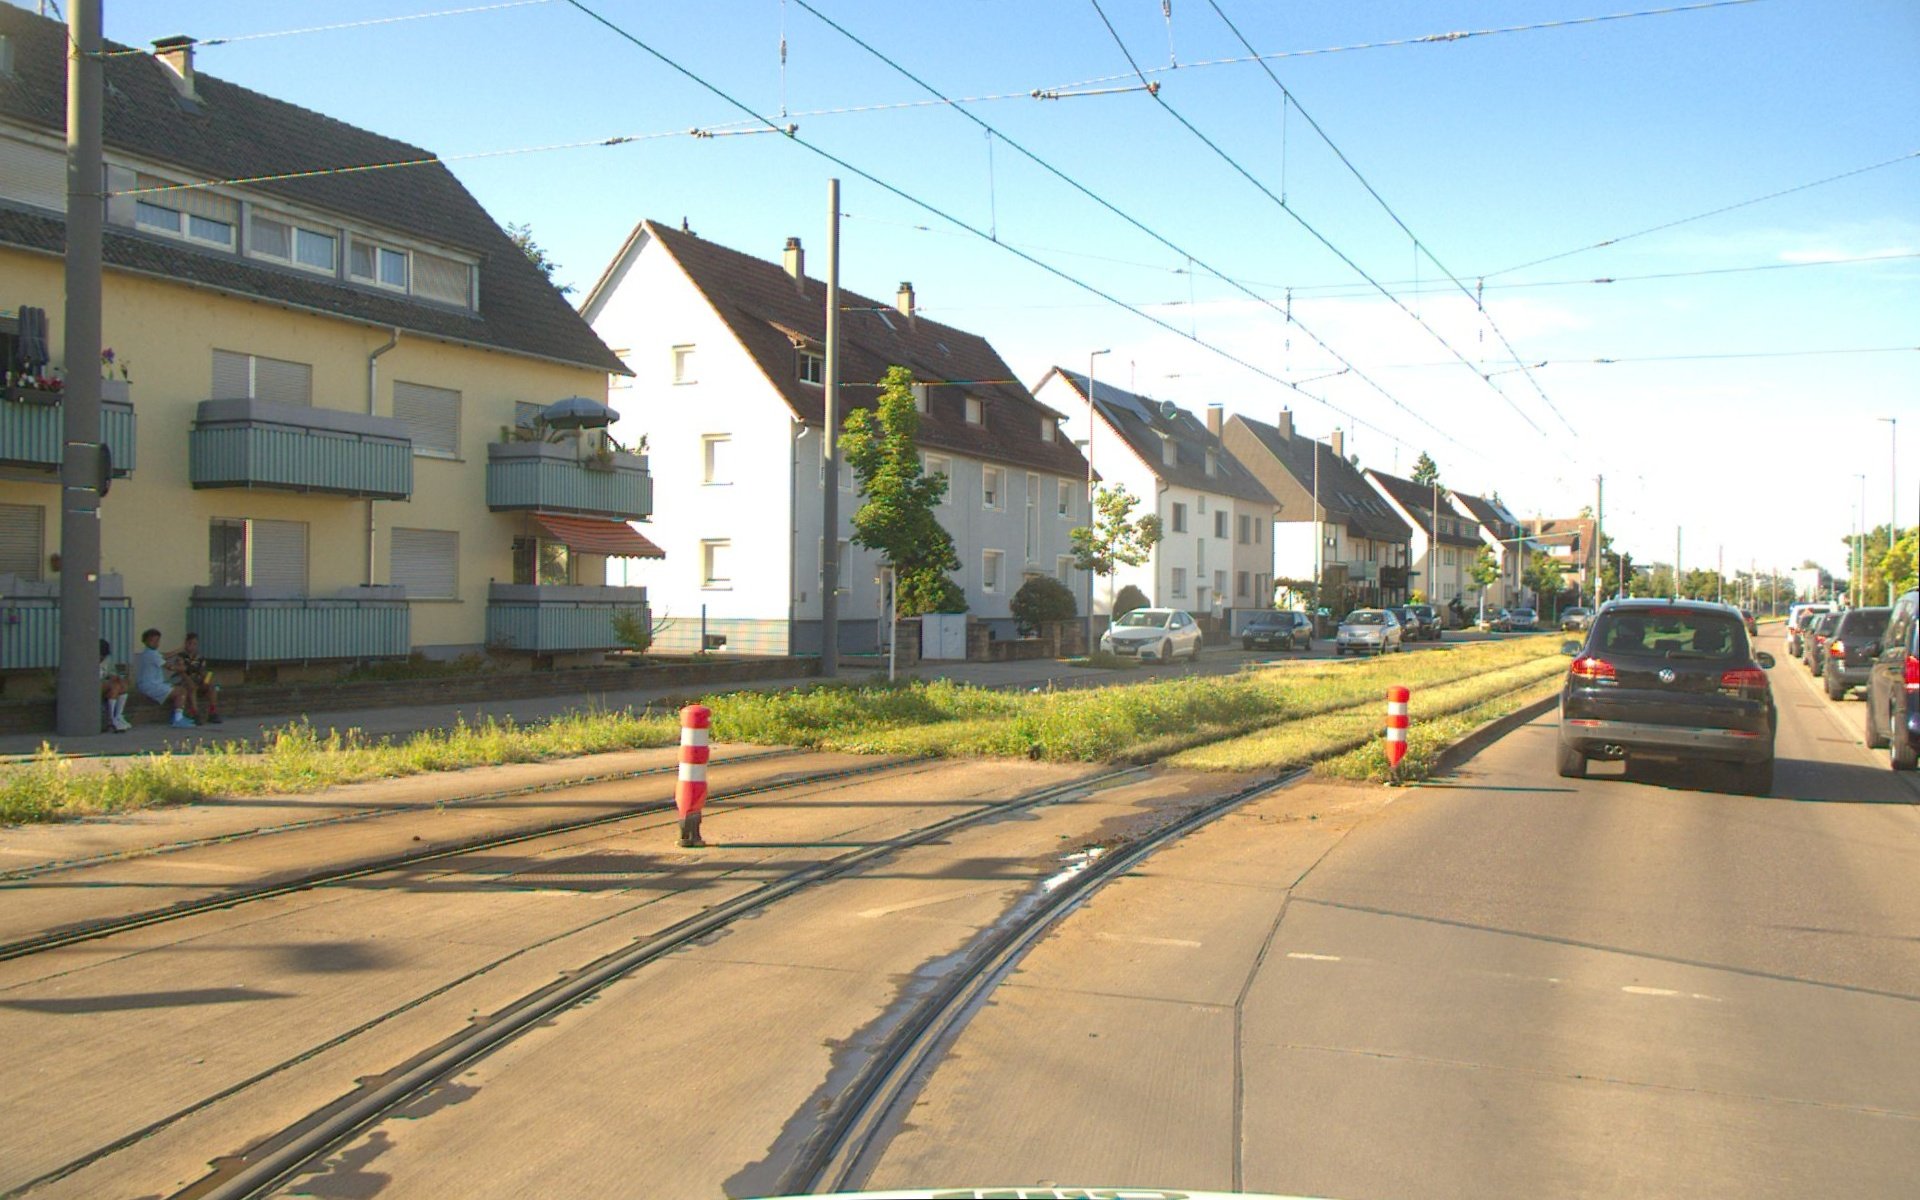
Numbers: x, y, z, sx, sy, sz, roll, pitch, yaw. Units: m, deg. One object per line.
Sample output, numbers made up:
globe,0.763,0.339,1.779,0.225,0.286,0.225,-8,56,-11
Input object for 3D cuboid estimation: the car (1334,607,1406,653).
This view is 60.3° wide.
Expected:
car,13.349,0.957,53.705,1.519,1.436,3.655,0,0,27

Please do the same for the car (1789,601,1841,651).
car,32.123,0.931,62.196,1.657,1.808,4.650,0,0,27

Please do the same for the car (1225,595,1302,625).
car,17.920,0.566,97.691,4.080,1.683,1.853,1,0,30

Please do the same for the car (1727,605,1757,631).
car,44.895,1.014,94.914,1.541,1.415,3.611,0,0,26

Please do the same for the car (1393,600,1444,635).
car,22.216,0.816,80.052,1.766,1.625,4.810,0,0,23

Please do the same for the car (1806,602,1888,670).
car,21.718,0.853,40.591,1.634,1.574,3.831,-2,-1,27

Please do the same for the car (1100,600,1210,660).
car,5.342,0.789,44.871,1.659,1.544,4.209,0,0,27

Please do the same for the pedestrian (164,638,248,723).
pedestrian,-9.268,0.985,20.346,0.707,1.023,0.595,1,-2,2

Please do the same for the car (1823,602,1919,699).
car,17.269,0.886,30.936,1.817,1.688,4.470,0,0,25

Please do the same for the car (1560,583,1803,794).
car,6.864,0.752,16.125,1.774,1.700,4.259,2,0,19

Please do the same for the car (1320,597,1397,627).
car,22.922,0.670,95.195,4.081,1.645,1.759,0,0,23

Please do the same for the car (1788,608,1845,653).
car,29.593,1.043,57.208,1.638,1.478,4.121,0,-1,26

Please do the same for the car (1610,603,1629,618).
car,61.891,0.976,155.202,1.485,1.385,3.587,0,0,26

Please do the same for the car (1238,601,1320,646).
car,11.138,0.793,57.517,1.755,1.488,4.162,0,0,27

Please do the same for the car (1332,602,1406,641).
car,17.448,0.894,70.427,1.841,1.549,4.872,1,0,29

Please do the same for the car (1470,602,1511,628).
car,31.821,0.897,99.162,1.589,1.478,3.709,0,0,31

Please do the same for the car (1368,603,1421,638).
car,19.763,0.896,75.112,1.491,1.501,4.196,1,0,27

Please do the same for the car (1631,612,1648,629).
car,70.065,2.100,170.524,1.436,1.706,3.284,0,-1,26

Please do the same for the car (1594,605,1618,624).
car,58.866,1.340,150.708,1.627,1.609,3.995,0,-2,27

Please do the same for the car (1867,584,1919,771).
car,11.370,0.791,18.406,1.923,1.868,4.923,0,0,25

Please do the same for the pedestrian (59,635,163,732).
pedestrian,-9.708,0.945,18.915,0.801,1.065,0.687,0,-1,23

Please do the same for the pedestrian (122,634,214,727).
pedestrian,-9.441,0.955,19.738,0.802,1.083,0.625,1,-2,-7
